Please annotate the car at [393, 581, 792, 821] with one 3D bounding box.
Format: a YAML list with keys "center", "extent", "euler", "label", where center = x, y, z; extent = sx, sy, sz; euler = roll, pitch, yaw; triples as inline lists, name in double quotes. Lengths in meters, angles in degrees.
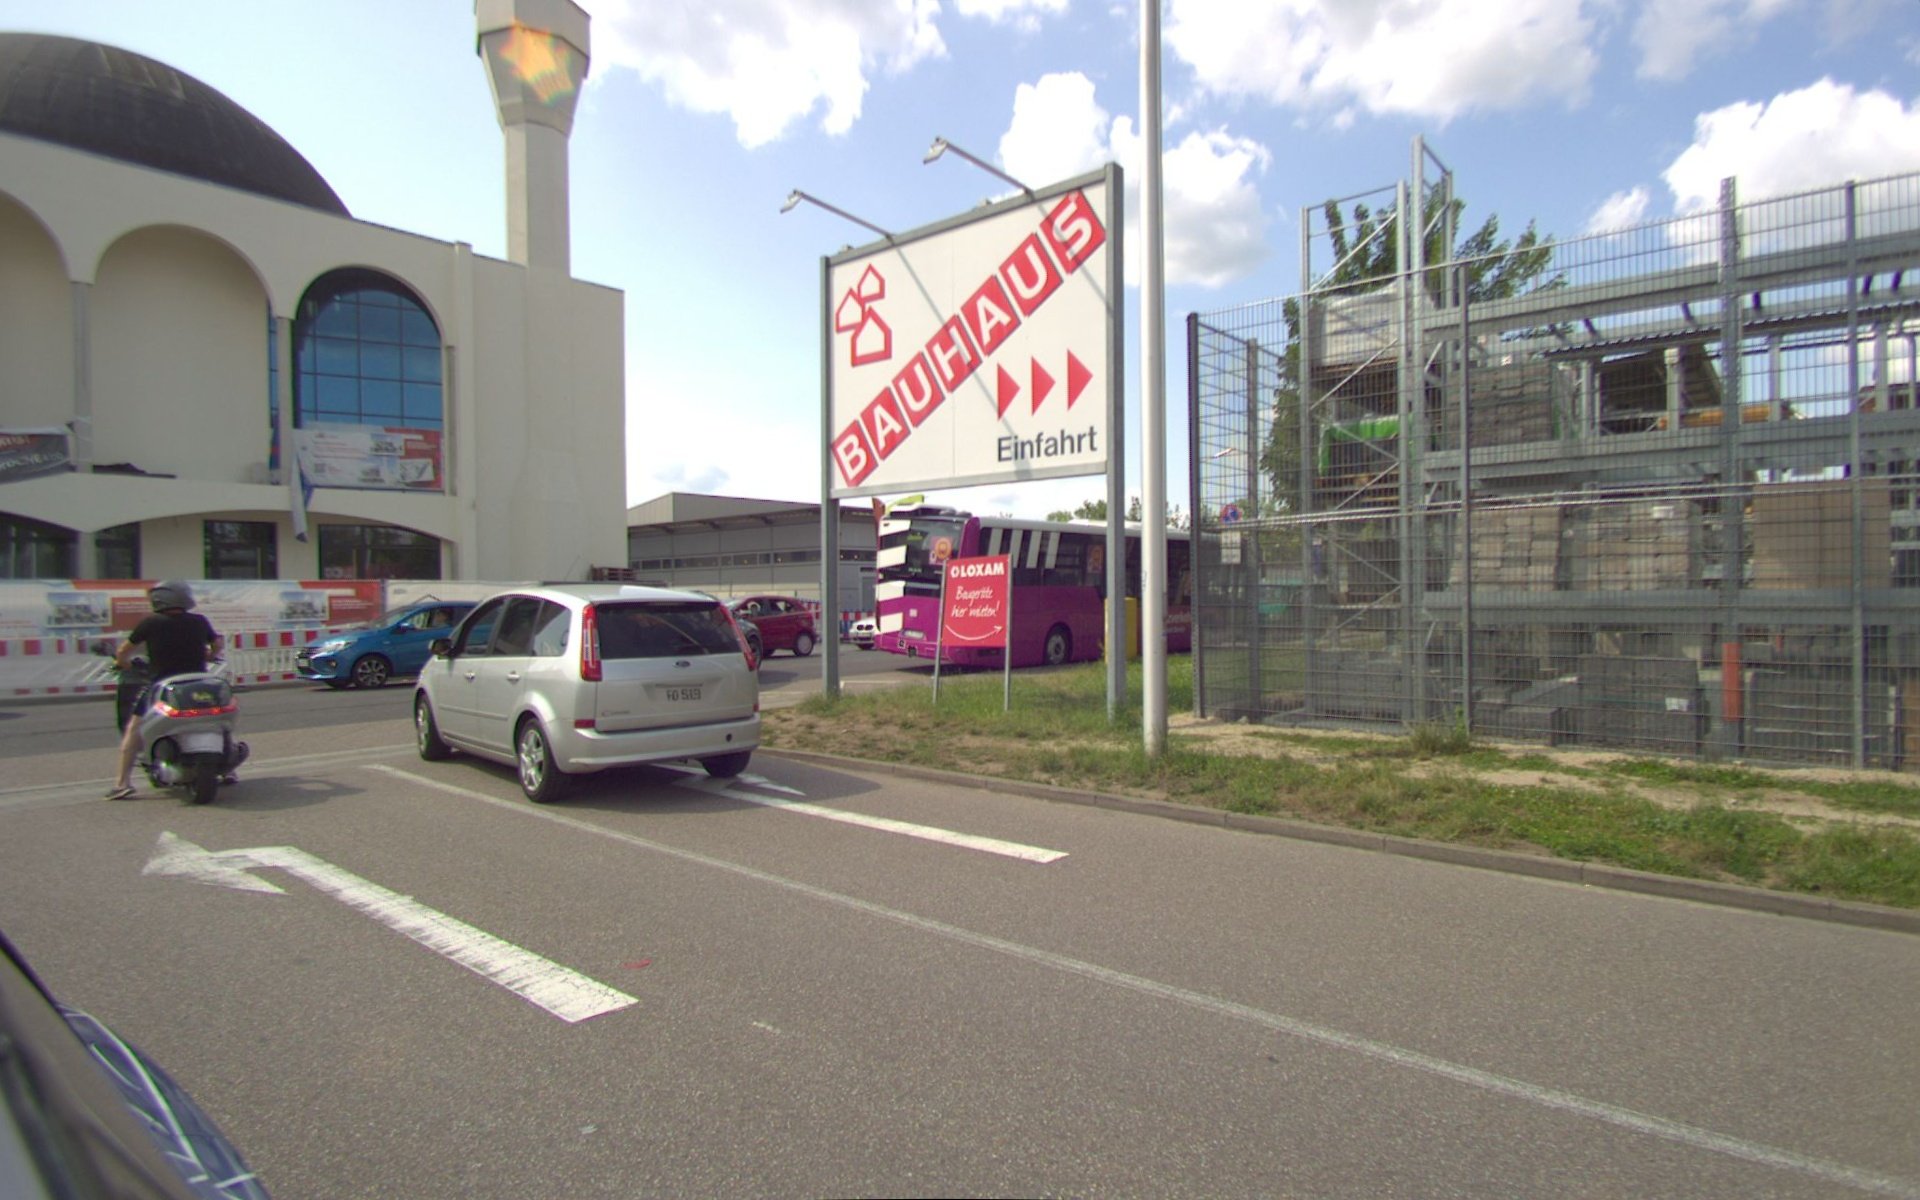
- center: [-3.371, 0.677, 8.779]
  extent: [1.697, 1.576, 4.213]
  euler: [-1, 0, -44]
  label: "car"

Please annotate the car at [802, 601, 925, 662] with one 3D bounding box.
- center: [-2.551, 0.803, 27.161]
  extent: [1.691, 1.426, 2.910]
  euler: [4, 3, 40]
  label: "car"

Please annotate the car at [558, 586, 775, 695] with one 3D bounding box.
- center: [-5.092, 0.695, 18.229]
  extent: [1.753, 1.678, 4.365]
  euler: [-3, -2, 15]
  label: "car"

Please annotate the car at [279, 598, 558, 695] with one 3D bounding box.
- center: [-9.673, 0.749, 18.355]
  extent: [1.696, 1.525, 4.140]
  euler: [-1, 0, 40]
  label: "car"

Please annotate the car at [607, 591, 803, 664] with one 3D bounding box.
- center: [-5.815, 0.567, 23.471]
  extent: [1.791, 1.521, 4.137]
  euler: [-1, 0, 41]
  label: "car"

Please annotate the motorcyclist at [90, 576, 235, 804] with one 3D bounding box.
- center: [-6.161, 0.647, 7.821]
  extent: [0.686, 1.641, 0.778]
  euler: [-1, 0, 43]
  label: "motorcyclist"

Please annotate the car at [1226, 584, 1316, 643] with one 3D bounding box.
- center: [10.195, 0.433, 33.036]
  extent: [1.447, 1.819, 3.590]
  euler: [-3, -2, 41]
  label: "car"

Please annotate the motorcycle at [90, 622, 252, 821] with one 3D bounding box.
- center: [-6.172, 0.845, 7.865]
  extent: [2.213, 1.316, 0.663]
  euler: [-1, 0, 43]
  label: "motorcycle"

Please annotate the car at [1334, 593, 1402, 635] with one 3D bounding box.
- center: [16.209, 0.558, 40.129]
  extent: [1.558, 1.561, 3.158]
  euler: [-2, -2, 41]
  label: "car"

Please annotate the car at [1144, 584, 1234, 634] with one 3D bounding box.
- center: [8.815, 0.310, 38.794]
  extent: [1.795, 1.759, 3.949]
  euler: [3, 2, 38]
  label: "car"

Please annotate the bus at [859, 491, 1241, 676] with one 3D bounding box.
- center: [2.758, -0.342, 23.871]
  extent: [2.891, 3.390, 11.412]
  euler: [-1, 0, 40]
  label: "bus"
